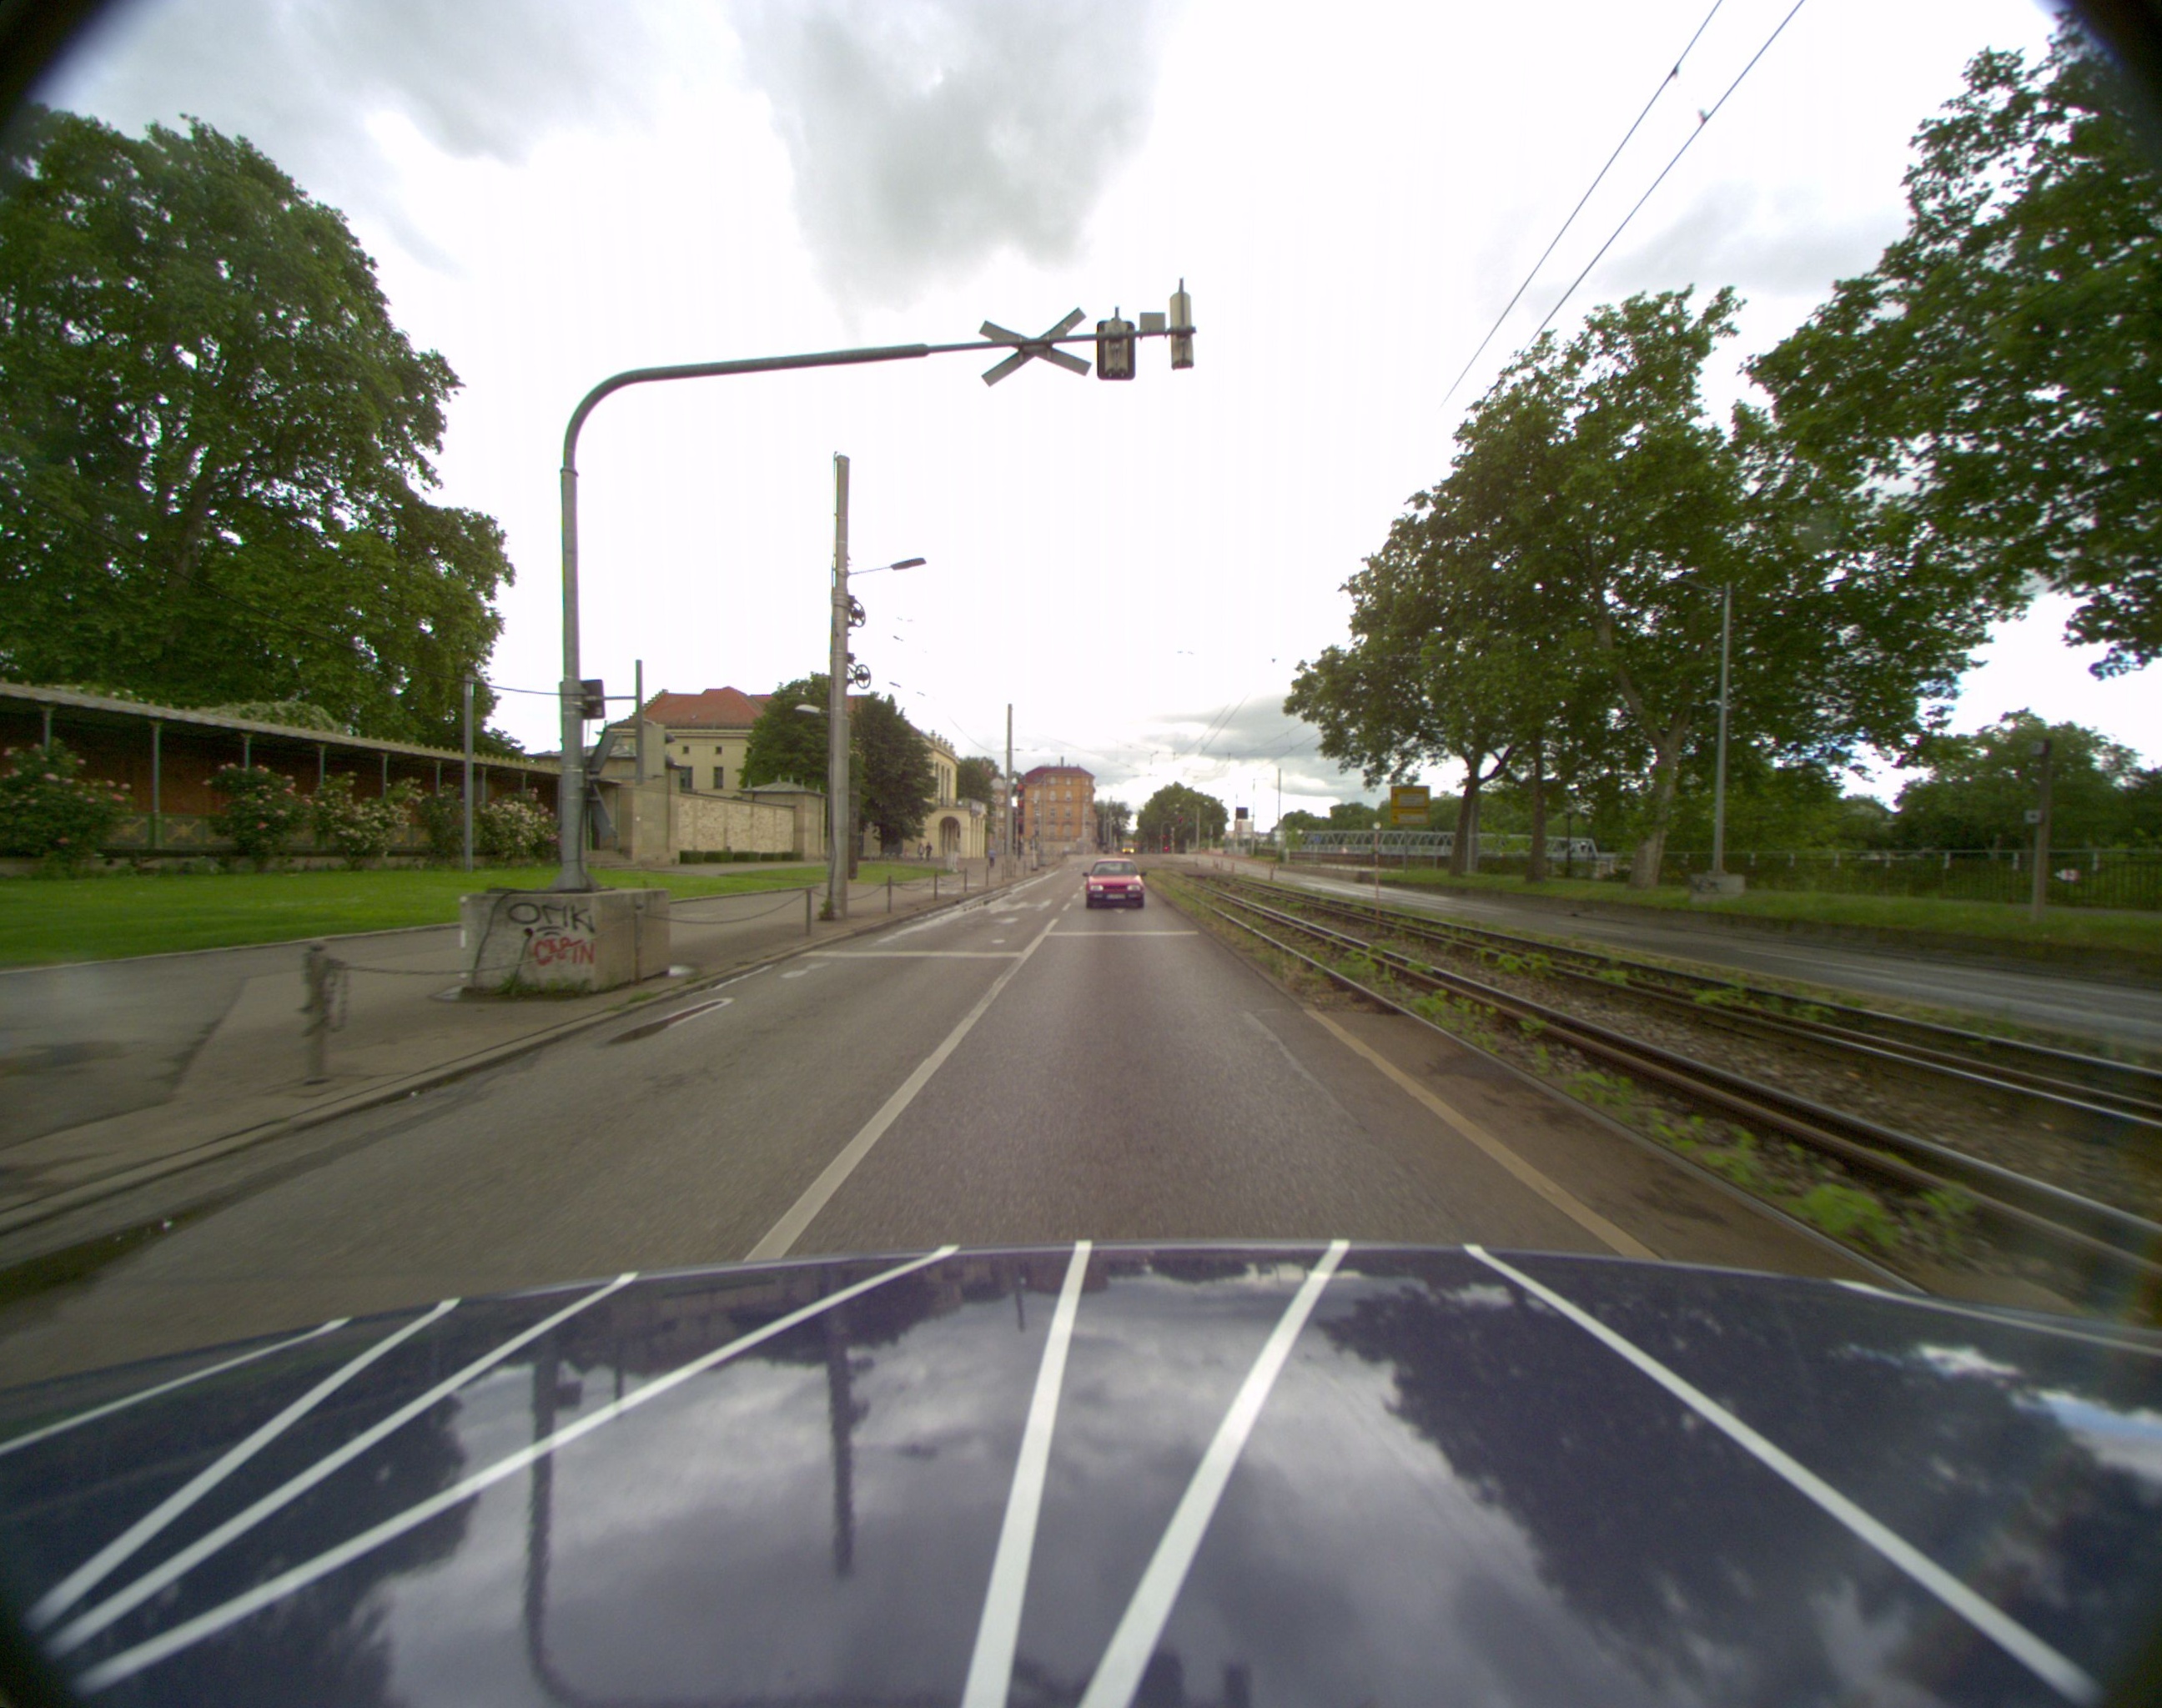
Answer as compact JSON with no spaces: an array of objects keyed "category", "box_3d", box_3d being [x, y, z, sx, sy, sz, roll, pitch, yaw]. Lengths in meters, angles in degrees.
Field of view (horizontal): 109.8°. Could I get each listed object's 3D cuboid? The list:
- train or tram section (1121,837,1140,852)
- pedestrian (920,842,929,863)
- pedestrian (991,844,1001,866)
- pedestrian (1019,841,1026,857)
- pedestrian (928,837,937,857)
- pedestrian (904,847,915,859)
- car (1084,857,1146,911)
[{"category":"train or tram section","box_3d":[11.878,-2.449,183.129,3.739,3.346,17.554,2,1,1]},{"category":"pedestrian","box_3d":[-13.404,-0.112,65.061,0.596,1.782,0.808,1,1,2]},{"category":"pedestrian","box_3d":[-6.892,0.047,61.885,0.672,1.757,0.937,1,1,2]},{"category":"pedestrian","box_3d":[-6.837,-0.579,89.036,0.672,1.757,0.937,1,1,2]},{"category":"pedestrian","box_3d":[-12.698,-0.640,65.042,0.598,1.689,0.790,1,1,2]},{"category":"pedestrian","box_3d":[-14.692,-0.101,65.218,0.760,0.995,0.595,1,1,-33]},{"category":"car","box_3d":[0.993,0.834,22.890,1.681,1.433,4.120,-1,0,2]}]
